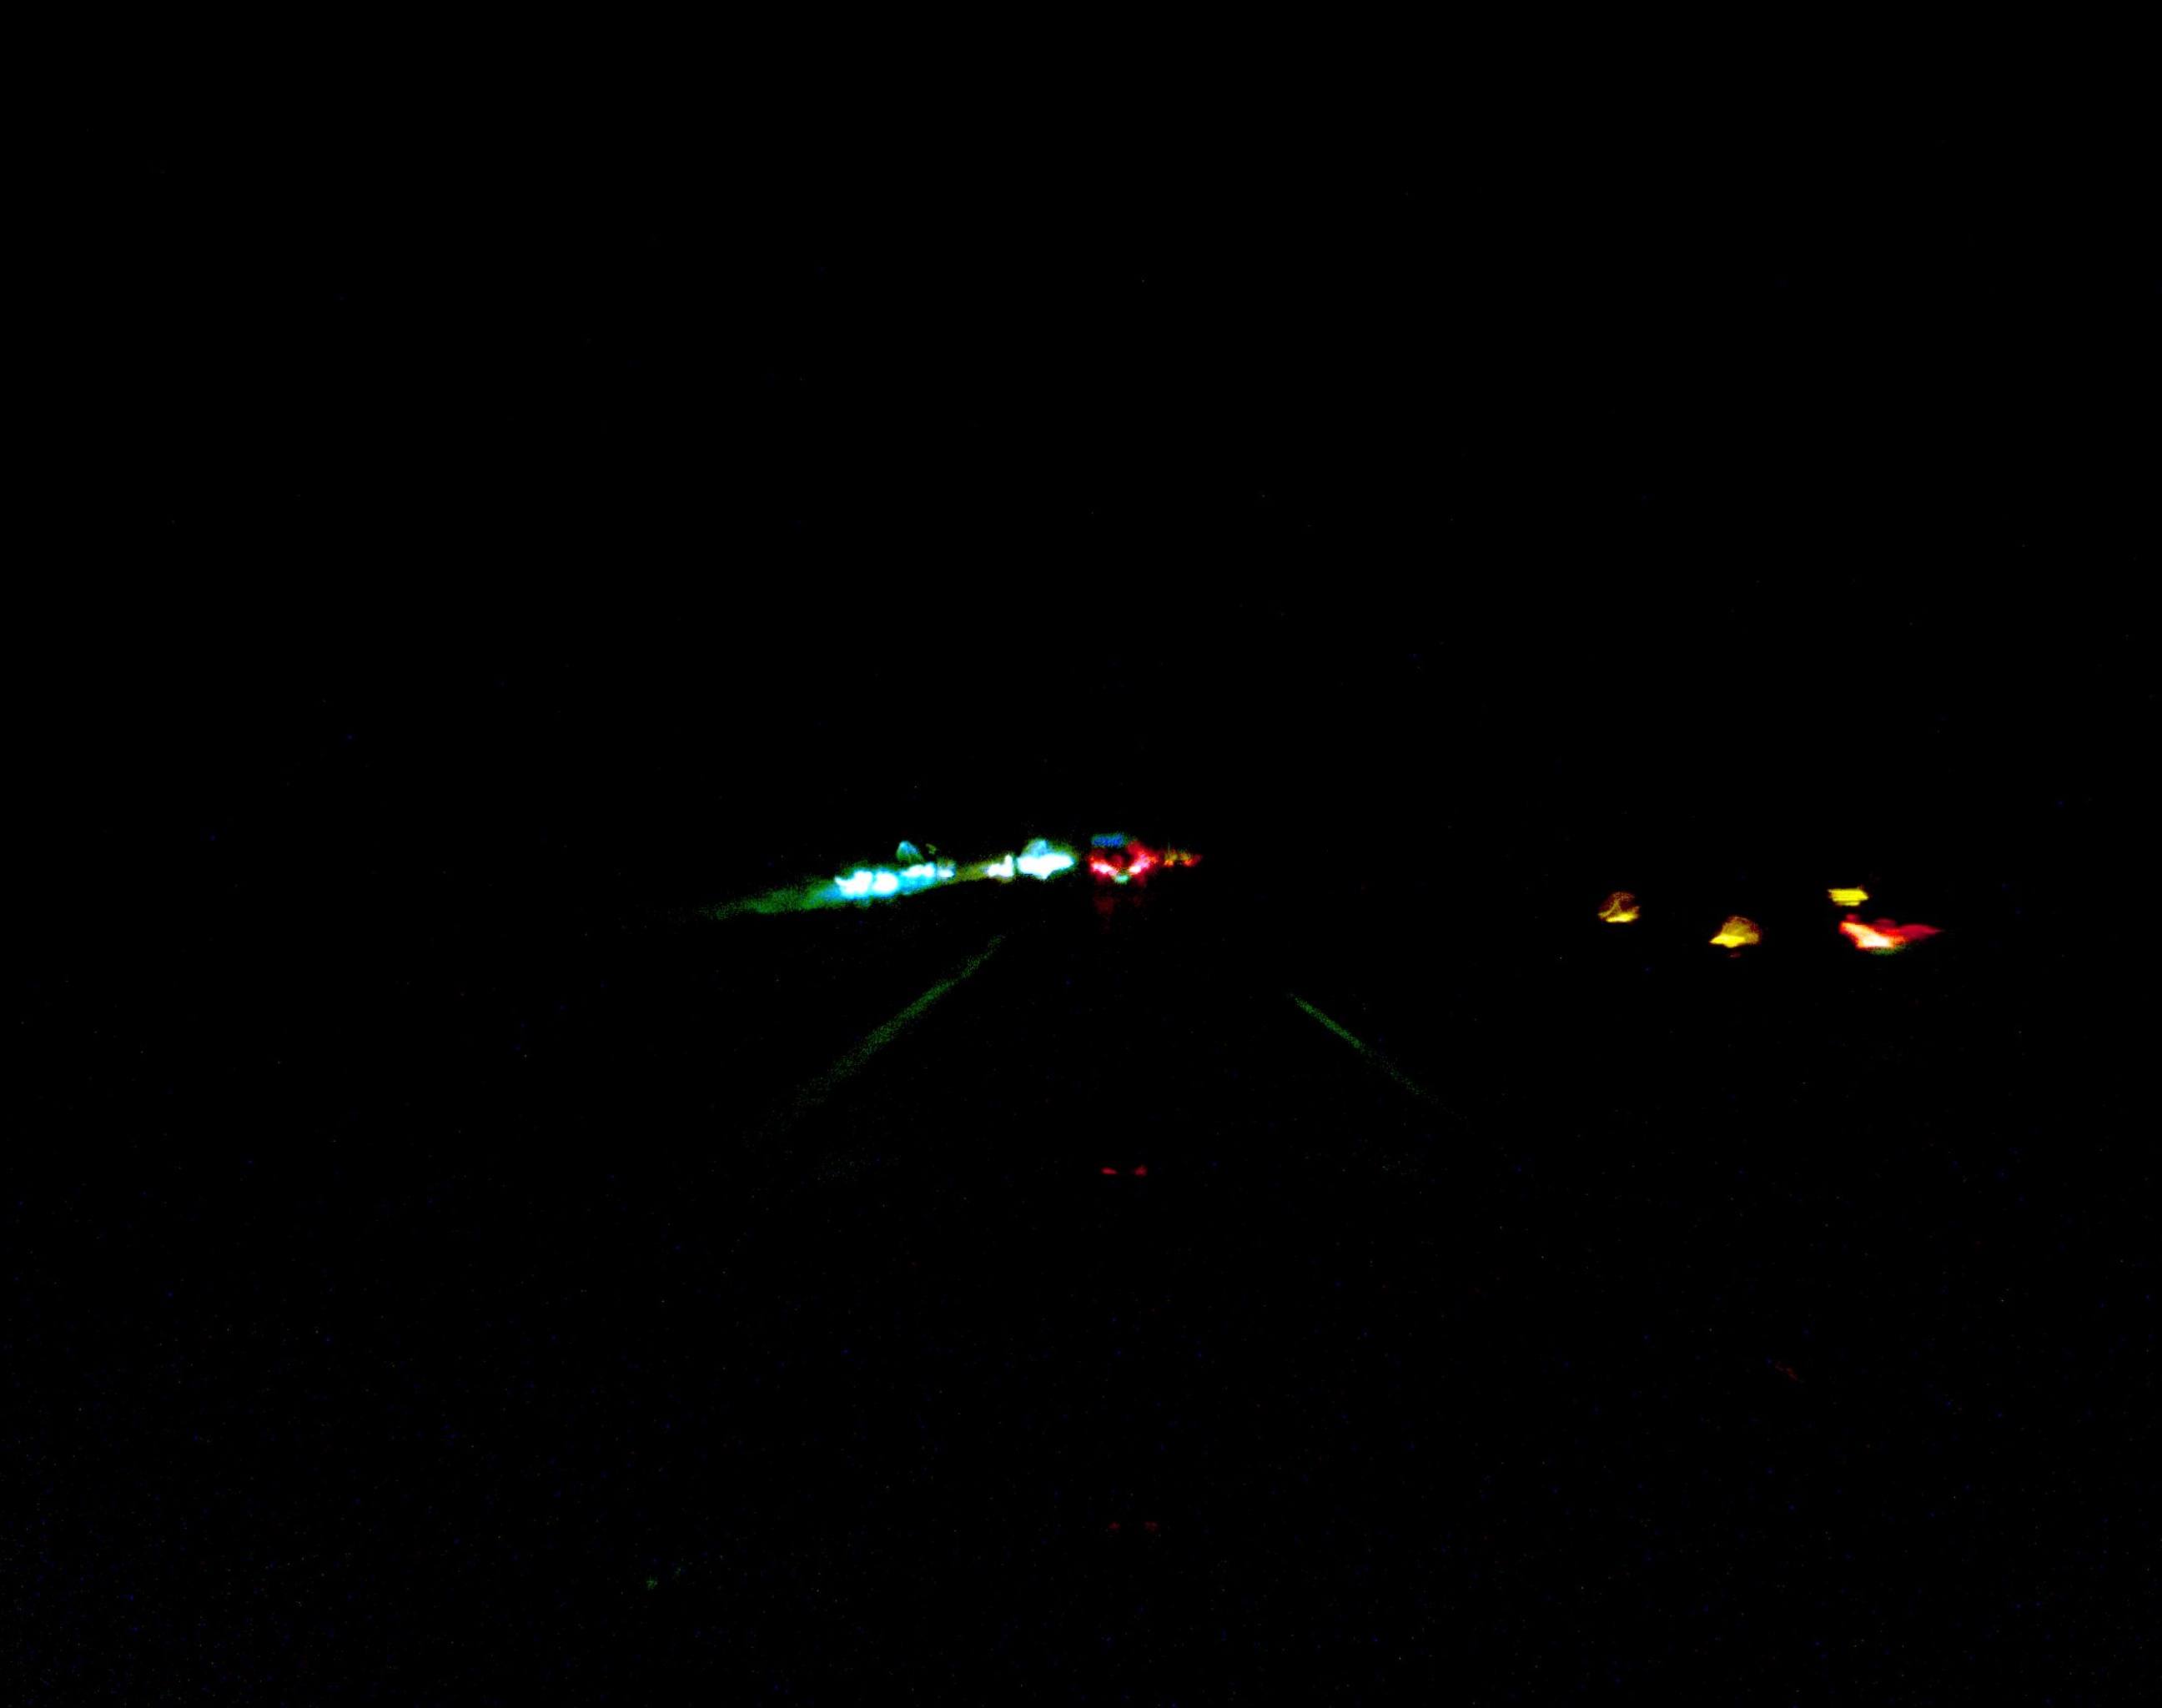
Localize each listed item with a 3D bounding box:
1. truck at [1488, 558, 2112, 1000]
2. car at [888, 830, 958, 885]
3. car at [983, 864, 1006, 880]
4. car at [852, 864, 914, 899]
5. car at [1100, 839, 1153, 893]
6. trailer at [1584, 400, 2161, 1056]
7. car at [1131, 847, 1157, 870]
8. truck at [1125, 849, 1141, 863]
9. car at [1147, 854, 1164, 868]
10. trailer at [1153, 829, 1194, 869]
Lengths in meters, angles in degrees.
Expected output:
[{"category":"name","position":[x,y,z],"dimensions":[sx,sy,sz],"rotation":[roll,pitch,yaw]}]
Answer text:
[{"category":"truck","position":[8.385,-0.718,10.816],"dimensions":[2.893,4.108,6.032],"rotation":[-3,0,1]},{"category":"car","position":[-14.573,0.264,76.186],"dimensions":[3.688,4.728,10.609],"rotation":[0,1,4]},{"category":"car","position":[-9.927,2.079,93.873],"dimensions":[1.909,1.684,4.002],"rotation":[-3,-1,2]},{"category":"car","position":[-10.802,1.451,44.749],"dimensions":[1.986,1.663,4.811],"rotation":[-3,0,2]},{"category":"car","position":[1.783,0.477,33.153],"dimensions":[1.986,2.014,4.001],"rotation":[-1,-1,1]},{"category":"trailer","position":[8.209,-0.829,3.796],"dimensions":[2.893,4.108,14.490],"rotation":[-3,0,1]},{"category":"car","position":[5.997,0.478,78.291],"dimensions":[1.988,2.013,3.997],"rotation":[-3,-1,-2]},{"category":"truck","position":[12.942,0.514,202.649],"dimensions":[3.027,3.297,11.379],"rotation":[-3,-1,0]},{"category":"car","position":[11.479,1.162,125.679],"dimensions":[1.988,2.013,3.997],"rotation":[-3,-1,-2]},{"category":"trailer","position":[10.385,-0.435,93.391],"dimensions":[3.031,4.108,13.827],"rotation":[-3,-1,0]}]
